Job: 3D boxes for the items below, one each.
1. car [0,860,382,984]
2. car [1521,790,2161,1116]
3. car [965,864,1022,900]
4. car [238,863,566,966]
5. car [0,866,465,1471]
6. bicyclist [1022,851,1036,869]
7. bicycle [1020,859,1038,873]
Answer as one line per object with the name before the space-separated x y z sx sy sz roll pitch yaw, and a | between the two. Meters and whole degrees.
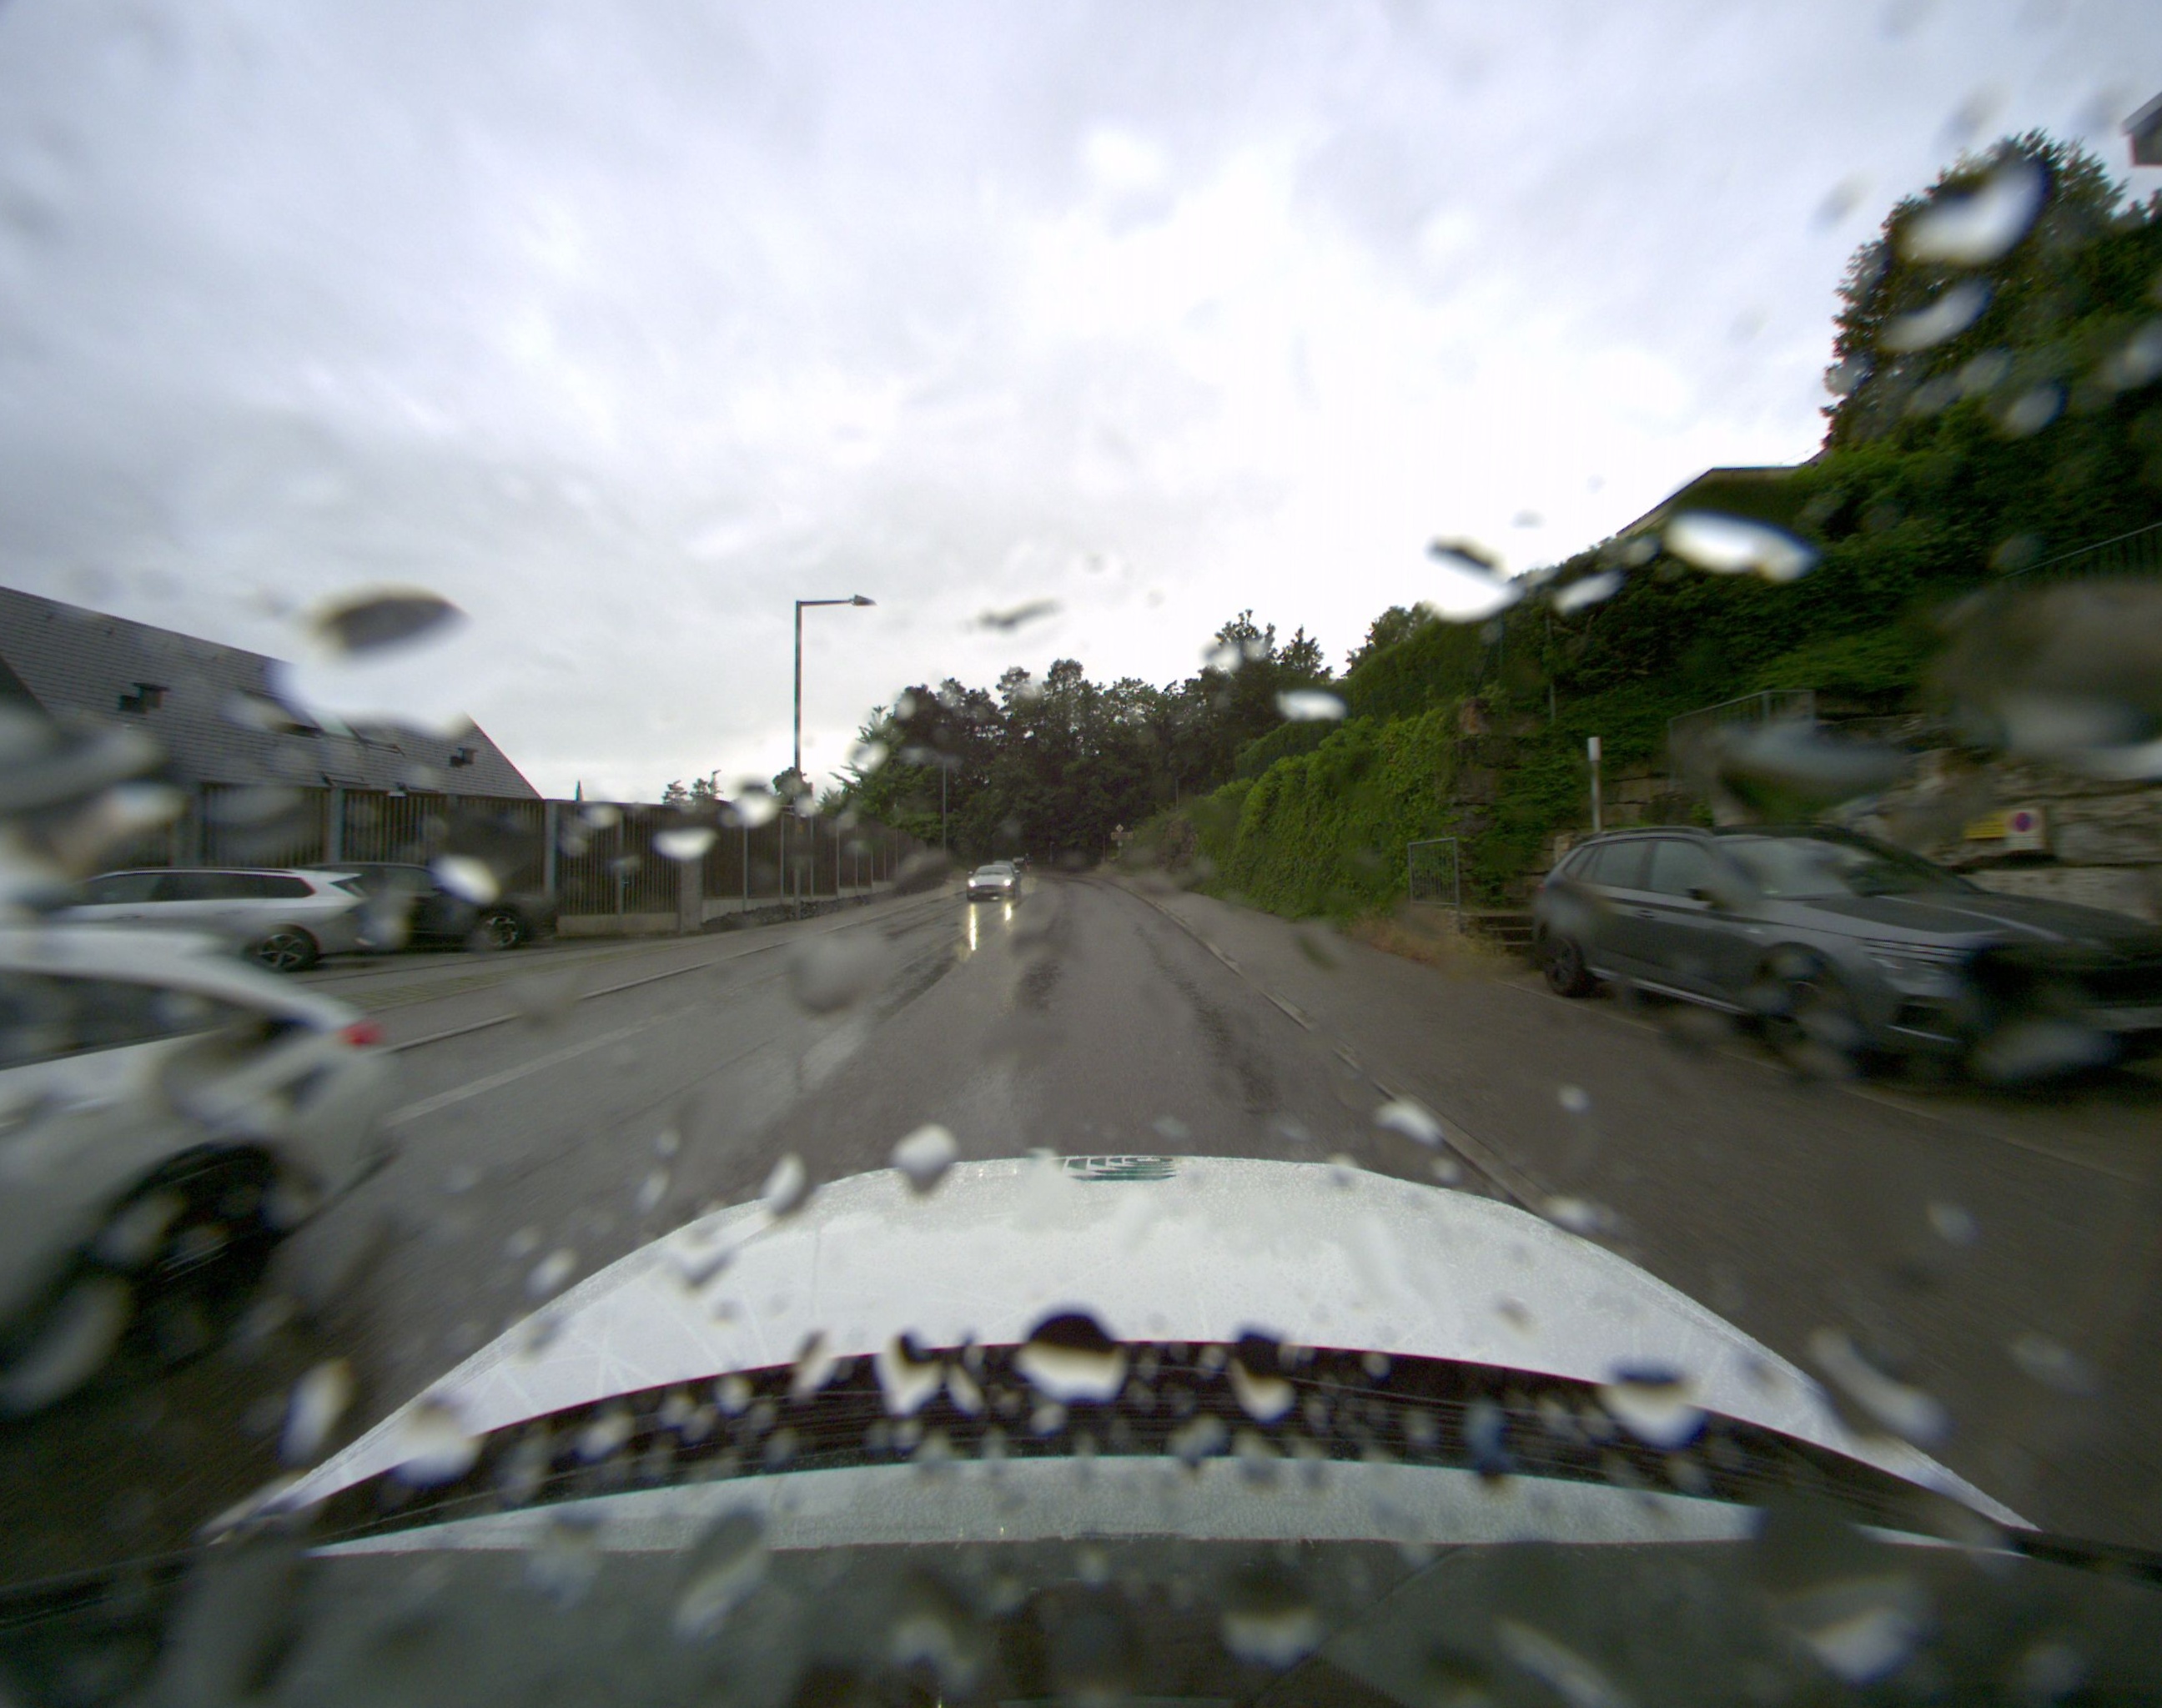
car | -12.388 0.817 10.858 4.555 1.442 1.741 1 -1 -38
car | 5.258 0.483 6.083 1.803 1.563 4.012 -3 0 2
car | -3.347 1.049 31.927 1.876 1.283 4.206 -1 0 -2
car | -11.867 0.967 14.692 4.310 1.601 1.818 0 0 -34
car | -3.583 0.772 1.296 1.840 1.460 4.269 0 0 2
bicyclist | -4.665 0.537 73.176 0.894 1.614 0.727 4 3 34
bicycle | -4.678 1.089 73.087 1.600 1.084 0.532 4 3 37
